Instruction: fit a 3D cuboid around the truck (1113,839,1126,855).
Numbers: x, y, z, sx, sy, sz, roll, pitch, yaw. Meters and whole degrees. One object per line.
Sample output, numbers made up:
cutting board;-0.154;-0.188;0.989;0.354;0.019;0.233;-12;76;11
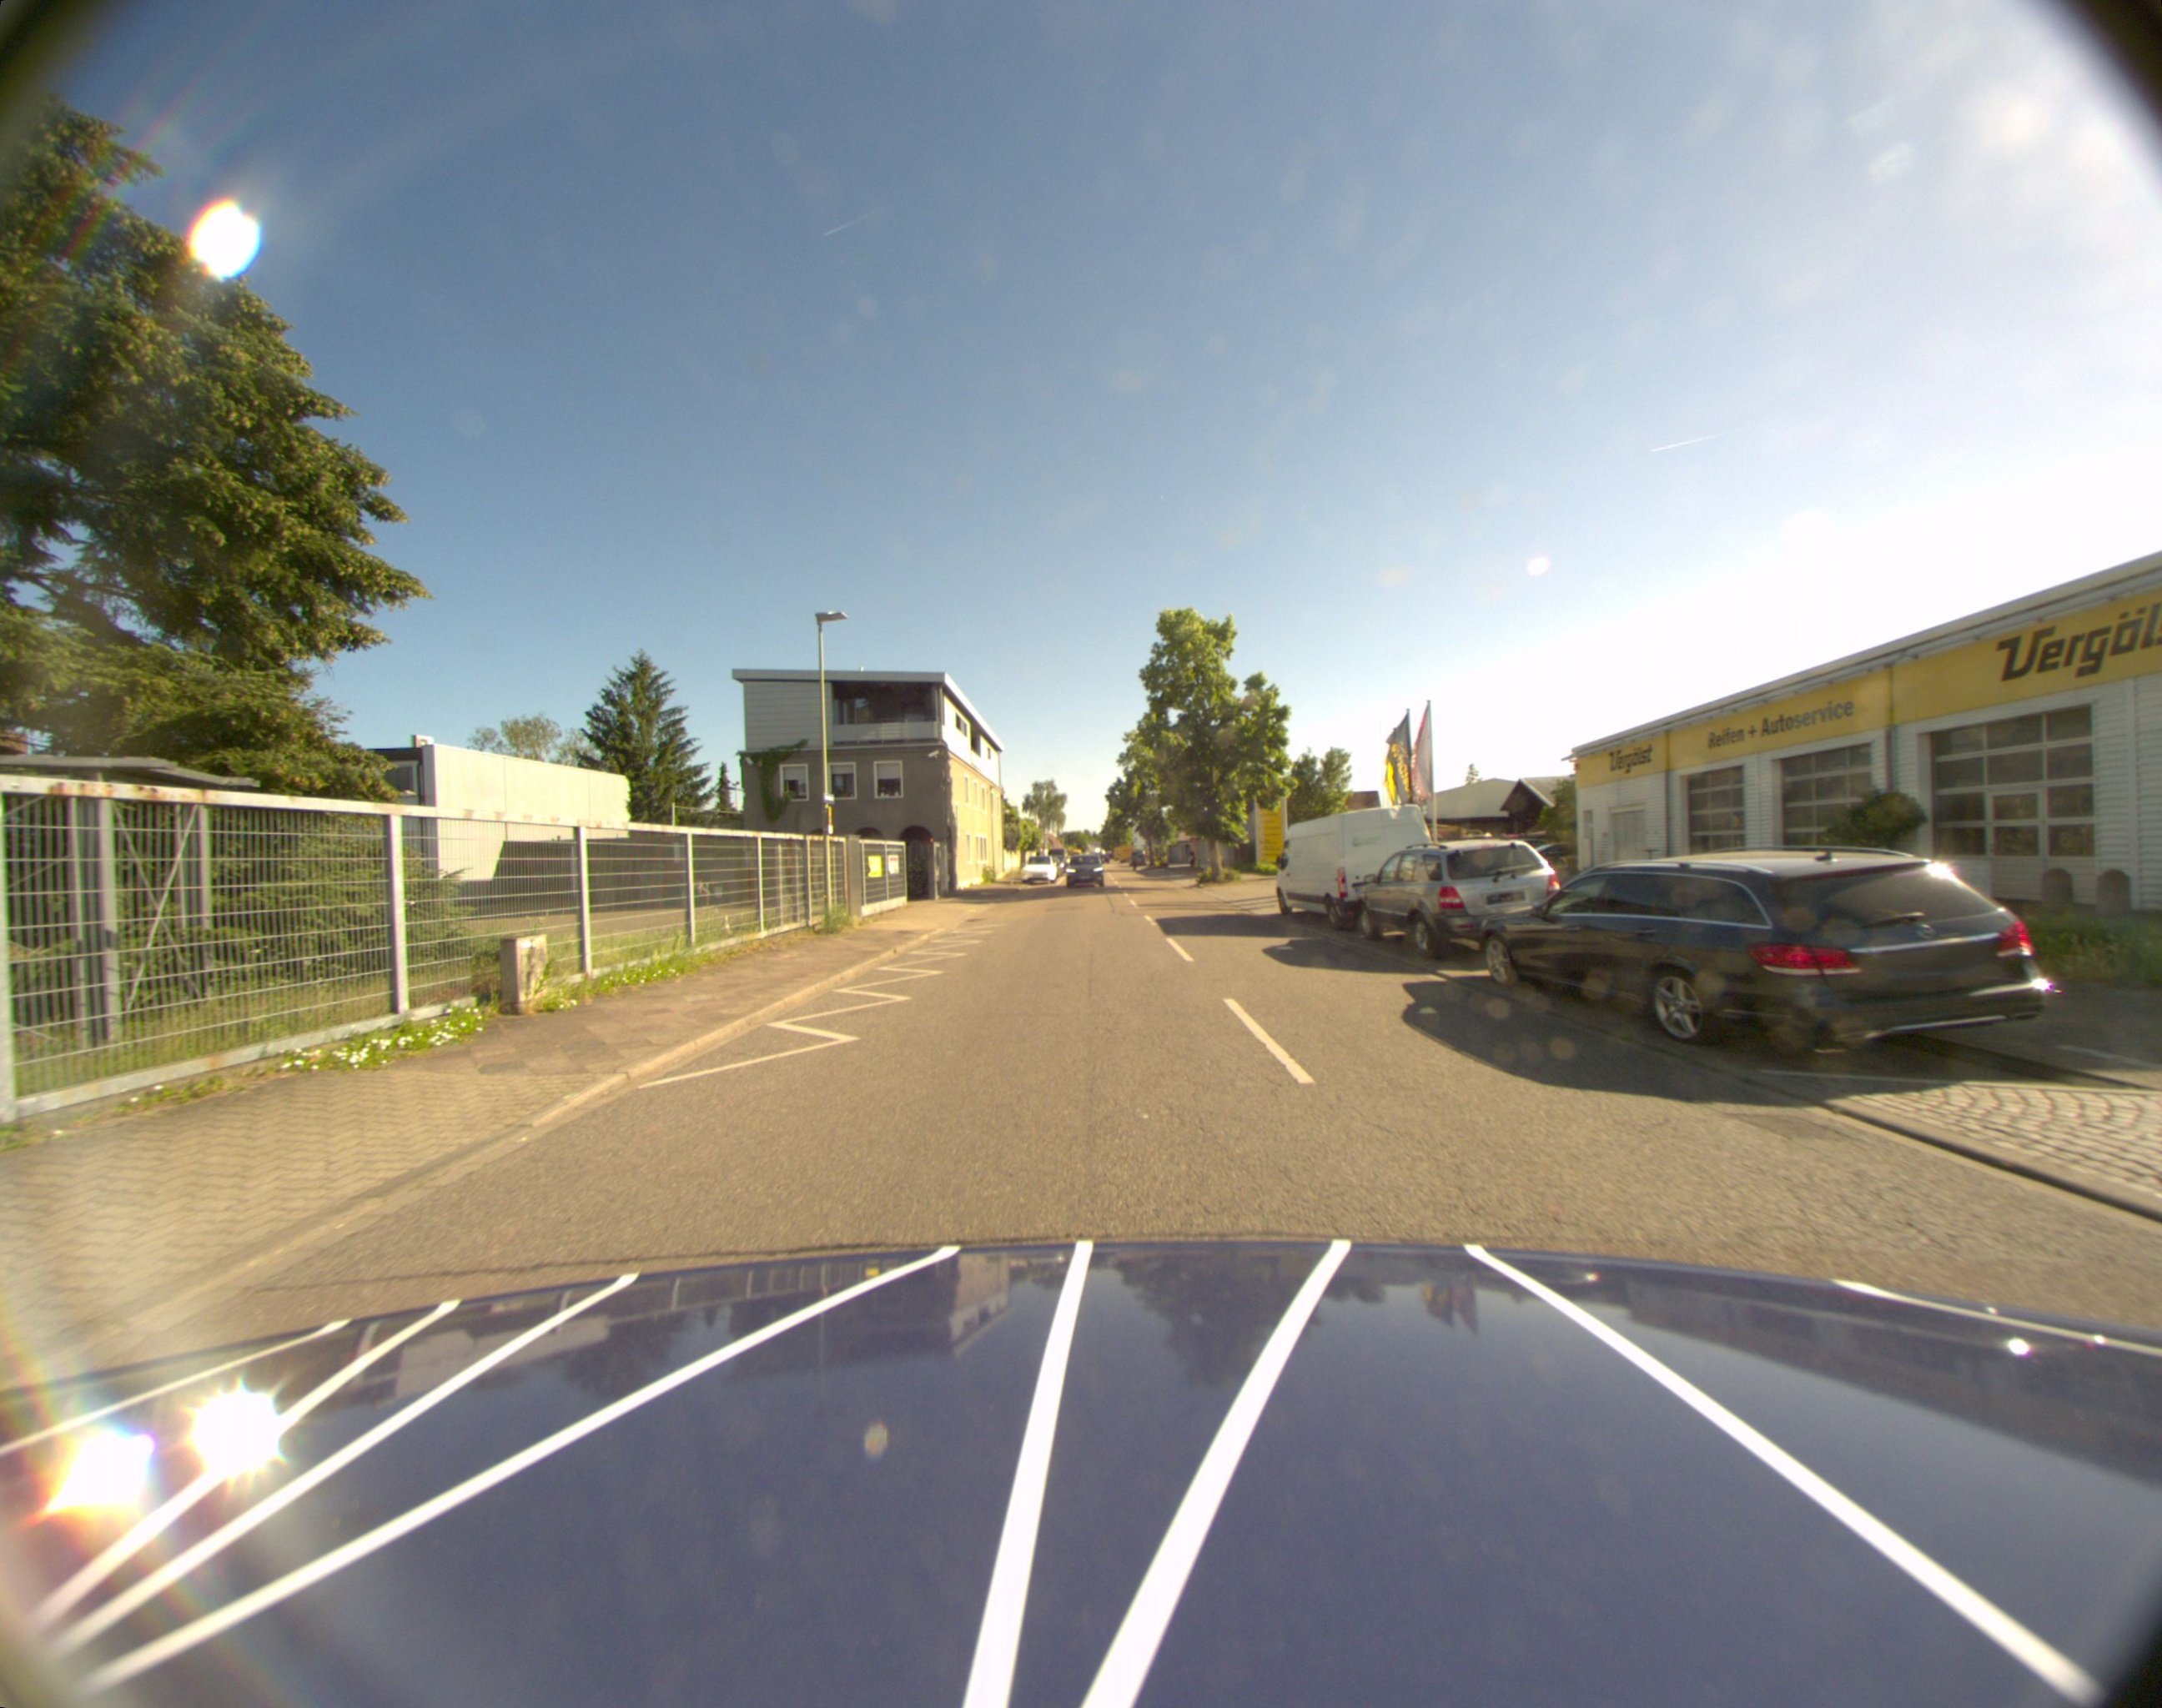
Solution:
truck;8.092;-1.444;159.786;2.286;3.012;5.910;-6;1;1

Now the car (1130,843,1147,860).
car;6.810;-0.275;90.297;1.779;1.838;4.616;-3;0;4

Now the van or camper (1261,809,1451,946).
van or camper;6.208;0.464;18.239;2.076;2.534;6.403;-5;0;0

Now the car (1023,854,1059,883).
car;-2.343;0.834;45.577;1.937;1.635;4.769;-1;0;-1

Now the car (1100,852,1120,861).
car;4.569;0.373;120.763;1.872;1.412;4.537;1;0;20

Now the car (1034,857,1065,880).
car;-2.146;0.963;52.165;1.602;1.464;4.190;-1;0;4

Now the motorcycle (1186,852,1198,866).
motorcycle;10.564;0.460;72.231;0.701;1.226;2.539;-4;0;0

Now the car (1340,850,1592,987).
car;6.051;0.878;12.693;1.998;1.728;4.575;-5;0;4

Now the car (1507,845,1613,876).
car;25.818;0.343;41.126;4.450;1.499;2.002;-1;1;13

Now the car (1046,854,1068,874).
car;-2.089;0.834;67.343;1.686;1.604;4.205;-3;0;1

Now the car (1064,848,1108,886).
car;0.246;0.607;38.772;1.998;1.750;5.015;-2;0;0

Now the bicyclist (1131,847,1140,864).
bicyclist;5.090;0.107;71.121;0.841;1.533;1.137;2;2;3

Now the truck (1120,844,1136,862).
truck;7.578;-0.213;121.899;2.173;2.698;5.749;-3;1;1

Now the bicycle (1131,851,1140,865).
bicycle;5.078;0.381;71.125;0.841;1.232;2.604;2;1;4

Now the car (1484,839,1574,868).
car;27.269;-0.013;46.377;4.325;1.645;2.002;-1;1;13

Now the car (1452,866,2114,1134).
car;5.759;0.986;7.416;1.804;1.501;5.002;-5;0;1

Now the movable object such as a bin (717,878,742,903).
movable object such as a bin;-14.663;1.517;31.726;0.616;0.967;0.749;-2;2;1
